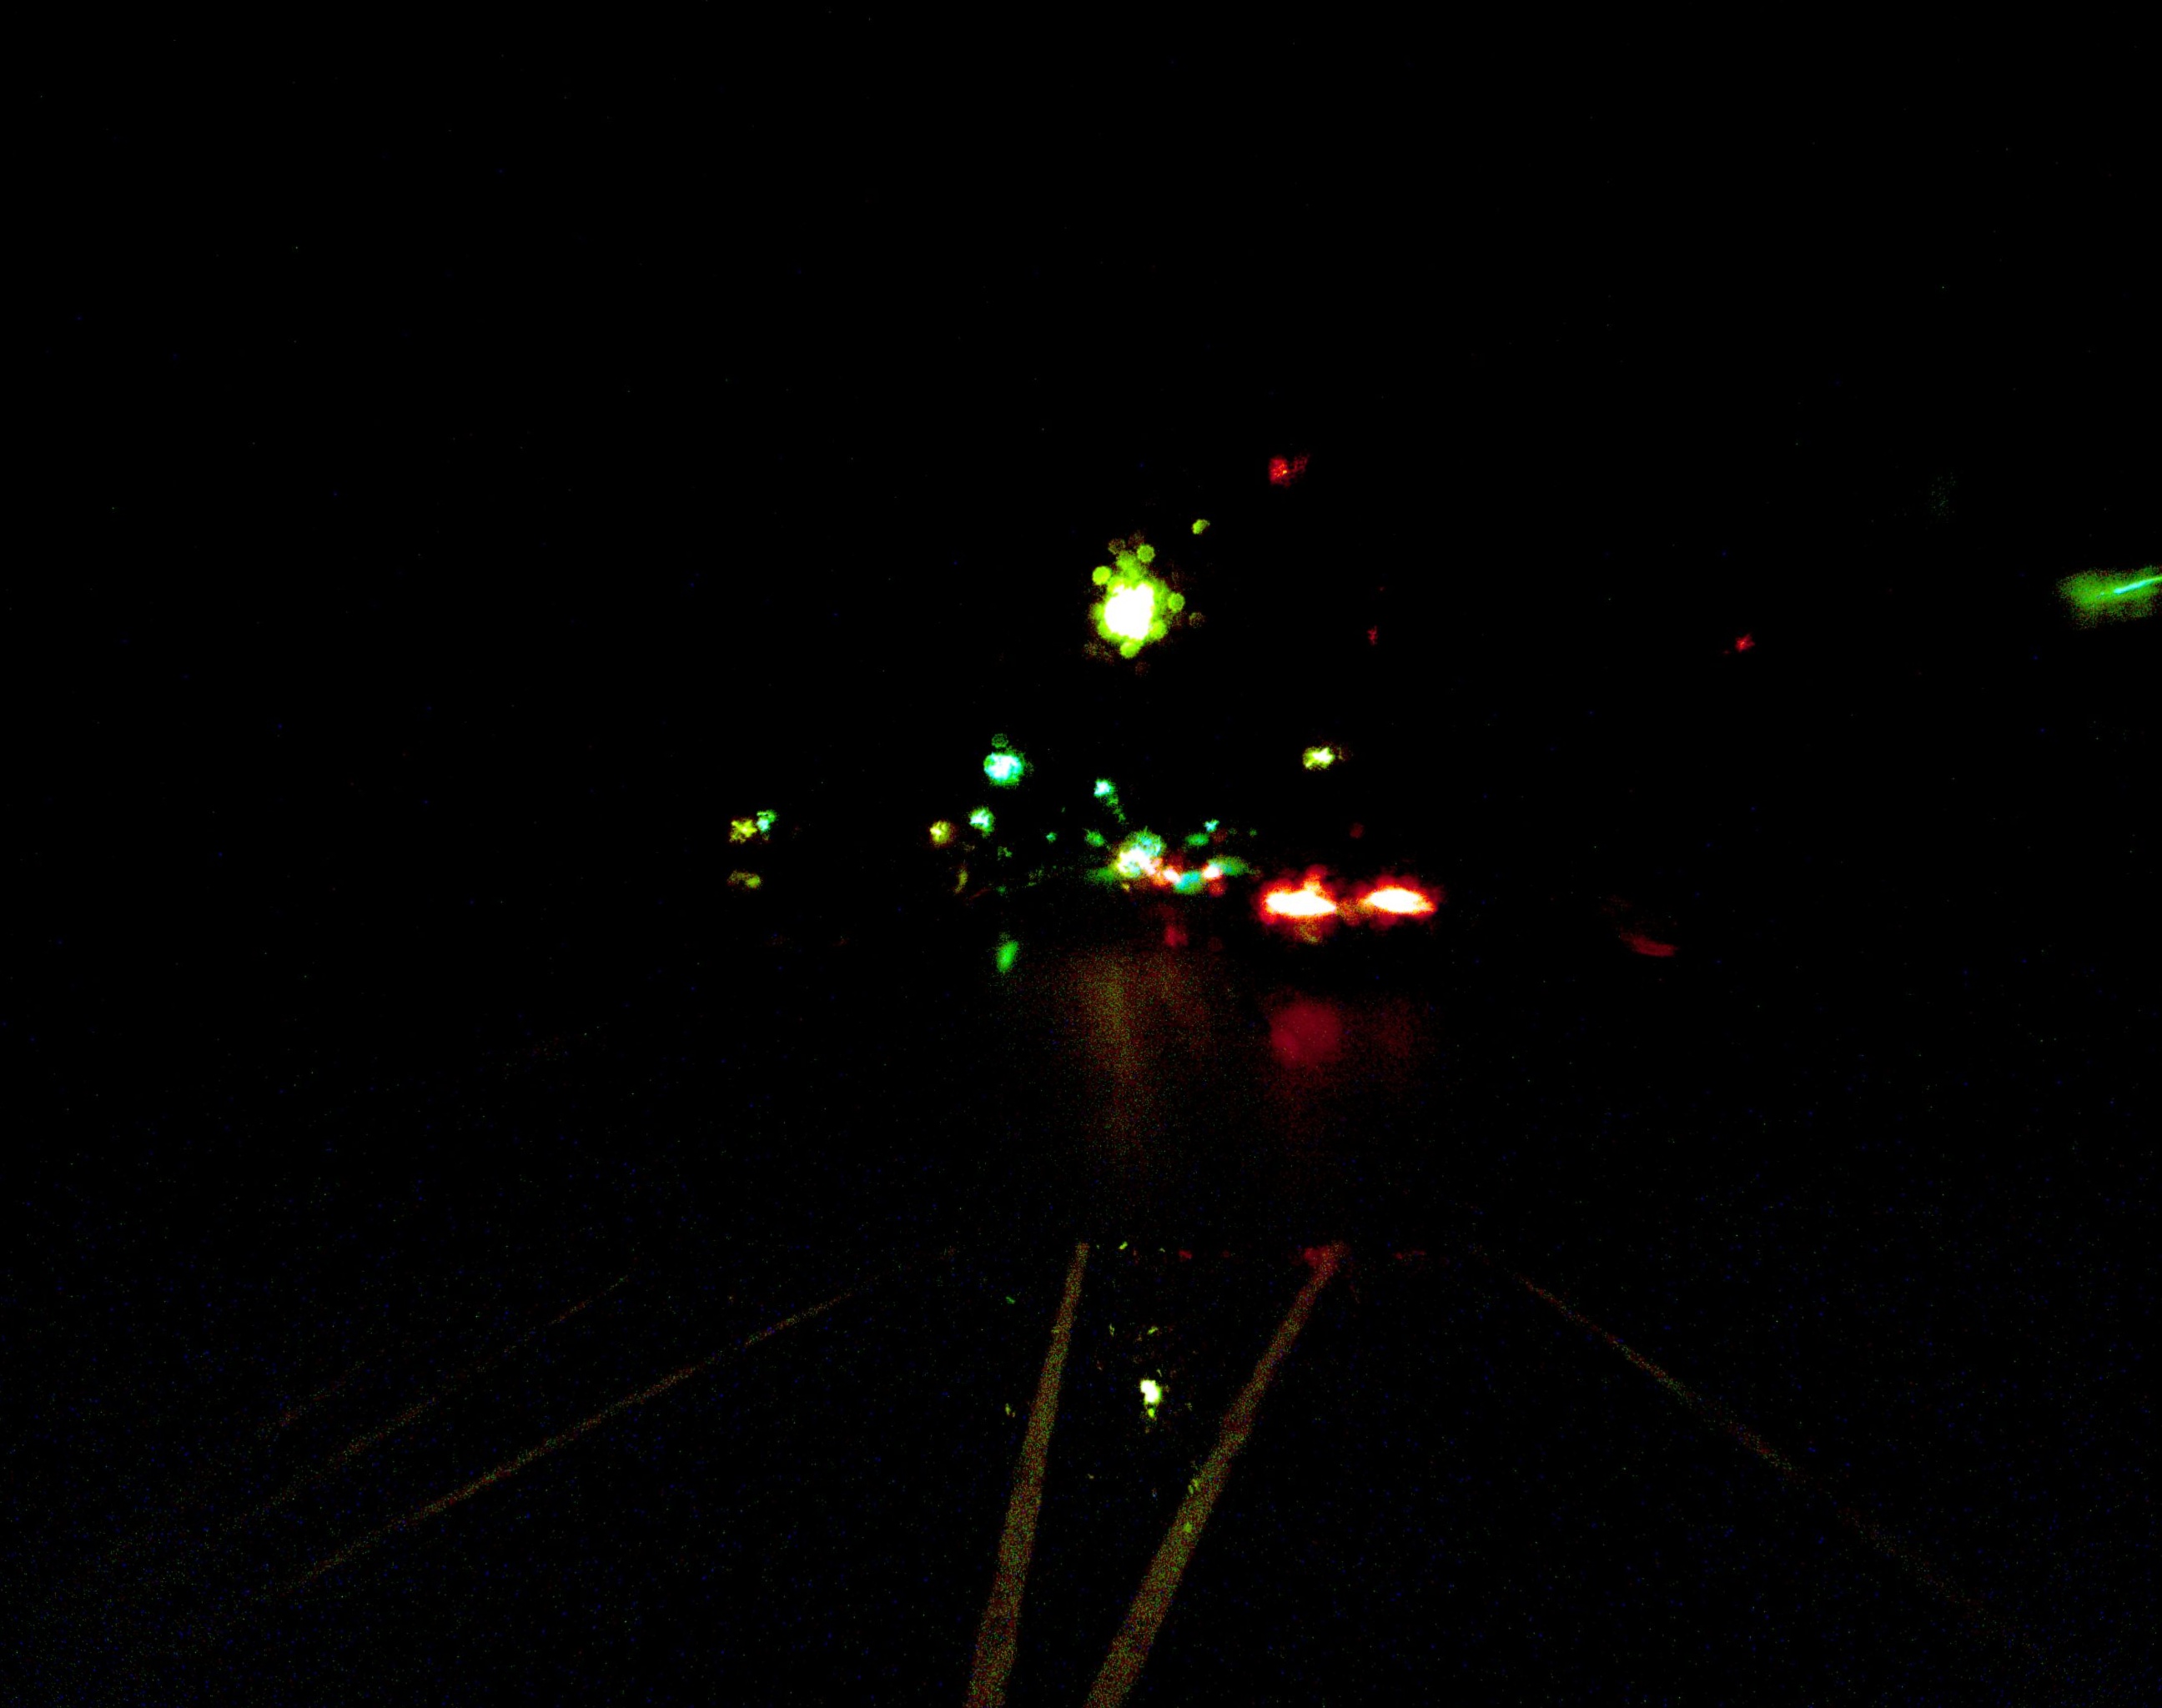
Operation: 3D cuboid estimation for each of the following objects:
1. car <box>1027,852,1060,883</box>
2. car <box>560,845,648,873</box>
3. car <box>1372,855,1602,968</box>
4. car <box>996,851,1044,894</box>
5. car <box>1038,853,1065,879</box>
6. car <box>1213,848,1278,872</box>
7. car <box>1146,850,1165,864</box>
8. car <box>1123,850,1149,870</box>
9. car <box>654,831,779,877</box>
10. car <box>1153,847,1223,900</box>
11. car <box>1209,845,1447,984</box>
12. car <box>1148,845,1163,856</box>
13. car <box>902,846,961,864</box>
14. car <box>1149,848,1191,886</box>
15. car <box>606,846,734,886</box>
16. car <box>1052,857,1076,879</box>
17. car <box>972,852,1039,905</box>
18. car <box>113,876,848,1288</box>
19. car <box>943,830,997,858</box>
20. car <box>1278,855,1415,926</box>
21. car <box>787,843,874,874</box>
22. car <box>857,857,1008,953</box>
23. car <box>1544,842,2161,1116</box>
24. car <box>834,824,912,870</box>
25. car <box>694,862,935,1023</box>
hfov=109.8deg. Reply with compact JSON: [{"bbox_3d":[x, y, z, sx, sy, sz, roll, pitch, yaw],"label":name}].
[{"bbox_3d":[-2.044,0.707,41.840,1.695,1.581,3.765,1,0,-2],"label":"car"},{"bbox_3d":[-25.608,0.264,40.865,3.663,1.448,1.666,1,0,1],"label":"car"},{"bbox_3d":[6.102,0.760,11.992,1.627,1.464,3.964,1,0,2],"label":"car"},{"bbox_3d":[-2.411,0.711,30.932,1.740,1.581,3.616,1,0,-2],"label":"car"},{"bbox_3d":[-1.834,0.731,47.698,1.649,1.581,3.445,1,0,-2],"label":"car"},{"bbox_3d":[11.977,0.425,55.227,4.539,1.695,1.853,1,0,15],"label":"car"},{"bbox_3d":[8.280,0.299,84.405,1.849,1.440,4.549,1,0,2],"label":"car"},{"bbox_3d":[4.258,0.471,58.972,1.849,1.440,4.549,1,0,2],"label":"car"},{"bbox_3d":[-14.269,0.000,29.865,4.089,1.697,1.667,1,0,4],"label":"car"},{"bbox_3d":[3.528,0.615,25.774,1.890,1.588,4.549,1,0,2],"label":"car"},{"bbox_3d":[3.174,0.694,10.894,2.044,1.539,4.683,-1,0,2],"label":"car"},{"bbox_3d":[10.240,-0.405,104.787,1.849,1.440,4.549,1,0,2],"label":"car"},{"bbox_3d":[-11.337,0.059,57.736,4.022,1.261,1.803,1,0,7],"label":"car"},{"bbox_3d":[4.622,0.657,39.917,1.849,1.814,4.549,1,0,2],"label":"car"},{"bbox_3d":[-14.681,0.423,27.262,3.663,1.333,1.666,1,0,1],"label":"car"},{"bbox_3d":[-1.250,1.015,57.411,1.695,1.581,3.765,1,0,-1],"label":"car"},{"bbox_3d":[-2.406,0.756,25.065,1.896,1.581,3.835,1,0,-2],"label":"car"},{"bbox_3d":[-2.936,0.944,4.924,1.608,1.464,3.951,1,0,0],"label":"car"},{"bbox_3d":[-9.134,-0.811,62.512,4.022,2.156,1.803,1,0,7],"label":"car"},{"bbox_3d":[6.180,0.767,18.280,1.628,1.464,4.548,1,0,-1],"label":"car"},{"bbox_3d":[-12.285,0.220,37.400,3.663,1.448,1.666,1,0,1],"label":"car"},{"bbox_3d":[-2.663,0.838,14.817,1.799,1.538,4.786,1,0,2],"label":"car"},{"bbox_3d":[5.985,0.734,6.449,1.628,1.564,3.962,3,0,0],"label":"car"},{"bbox_3d":[-12.261,-0.427,44.836,4.022,2.603,1.803,1,0,7],"label":"car"},{"bbox_3d":[-2.908,0.862,9.185,1.608,1.464,3.951,1,0,-2],"label":"car"}]
